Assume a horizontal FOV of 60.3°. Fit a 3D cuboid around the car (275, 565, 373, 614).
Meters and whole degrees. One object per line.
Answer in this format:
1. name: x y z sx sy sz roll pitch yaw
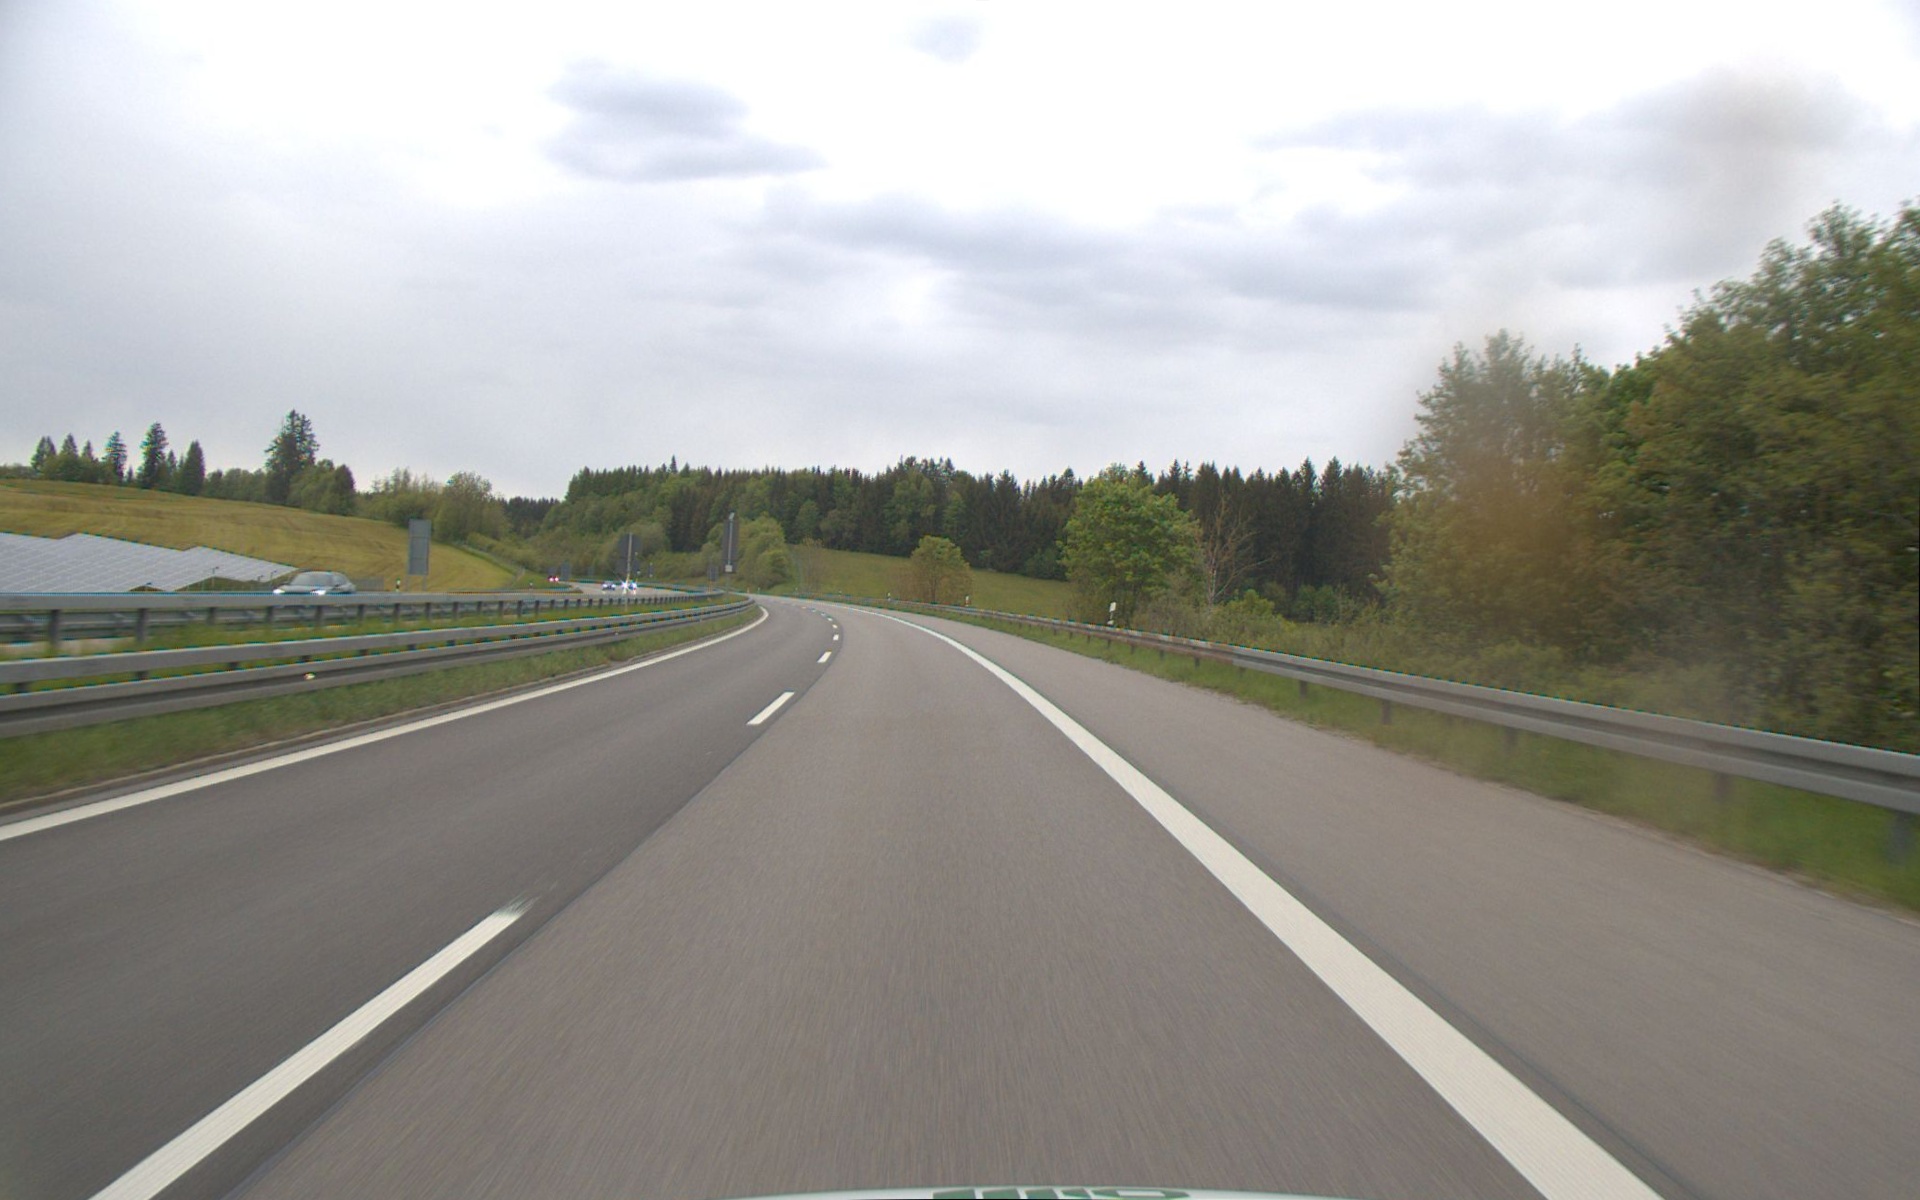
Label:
1. car: -22.053 -0.371 57.522 1.954 1.524 4.148 4 0 -4
